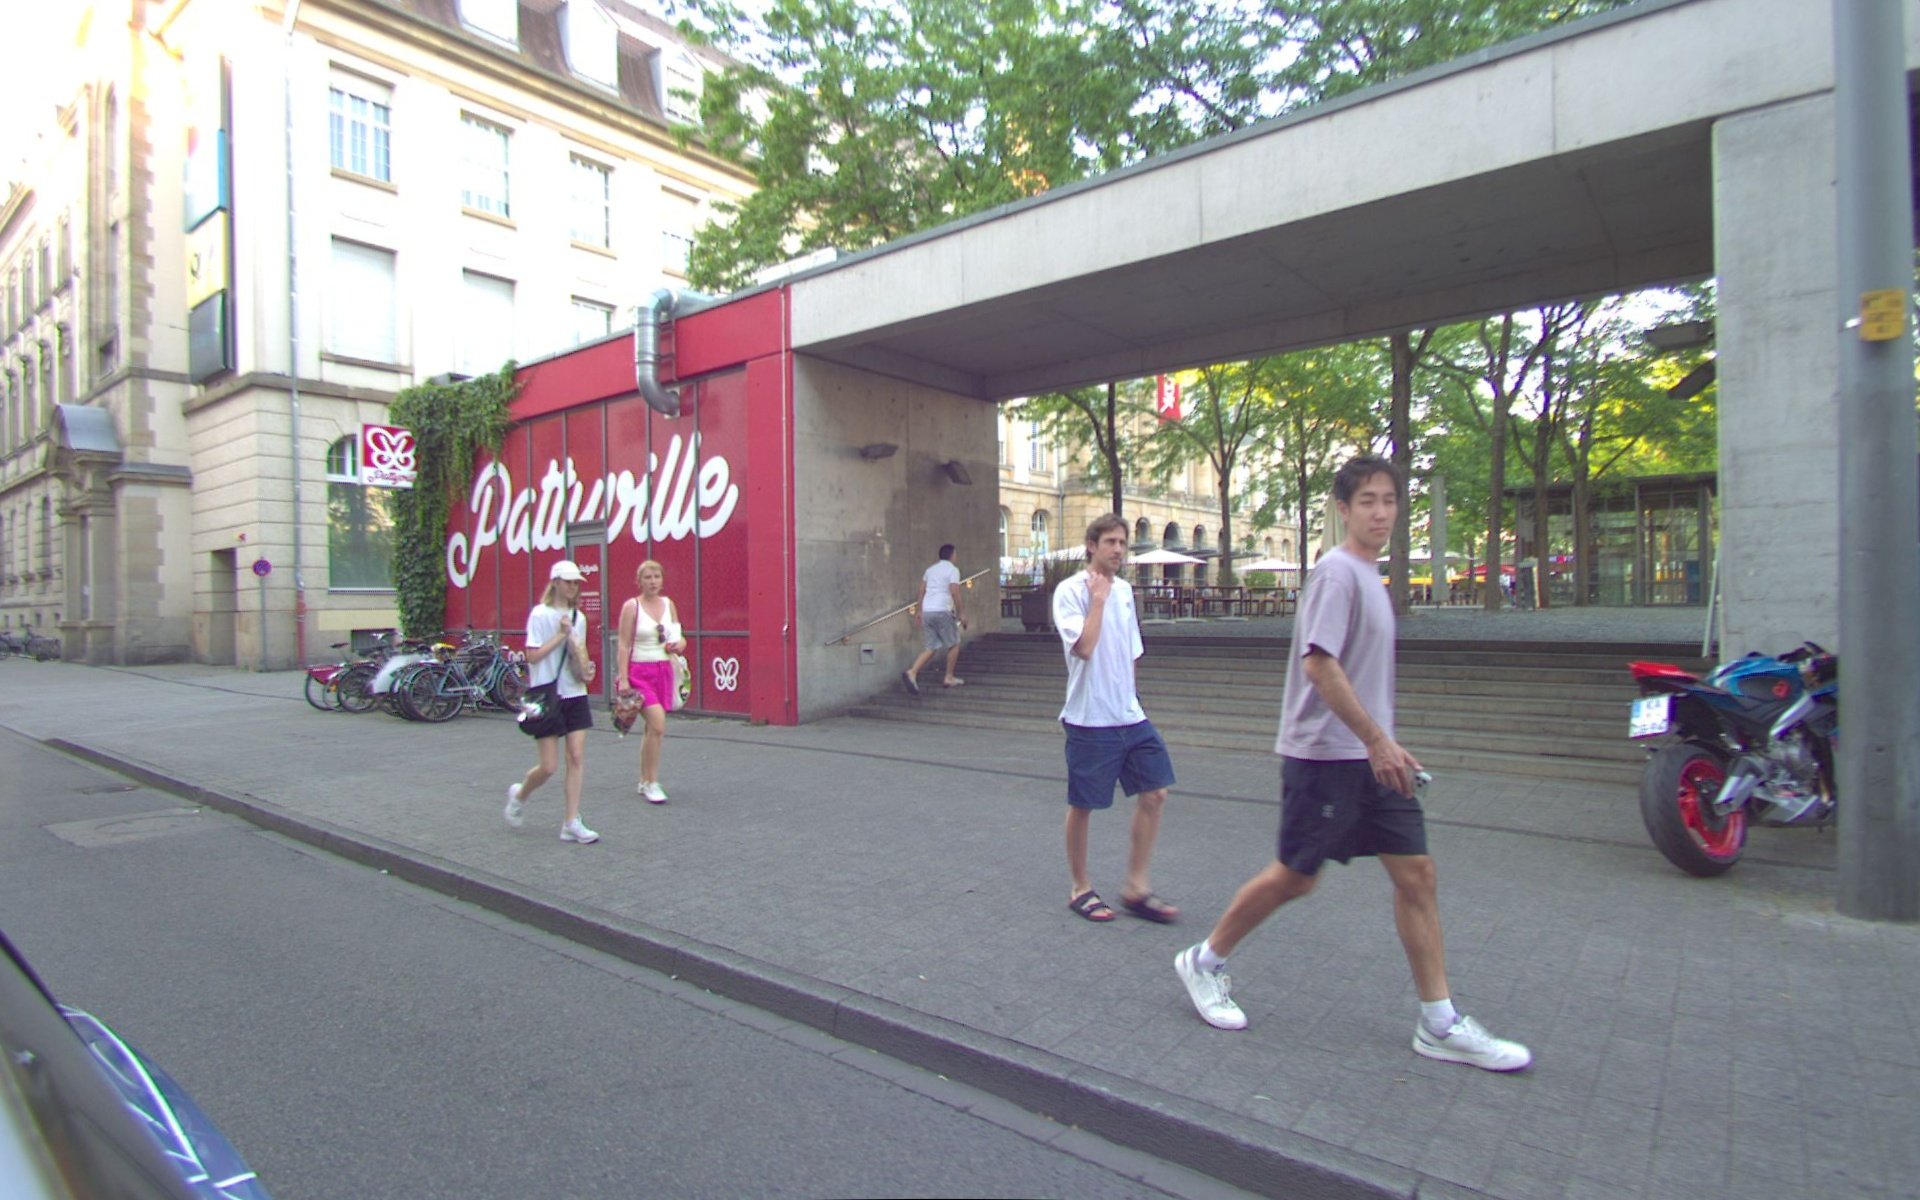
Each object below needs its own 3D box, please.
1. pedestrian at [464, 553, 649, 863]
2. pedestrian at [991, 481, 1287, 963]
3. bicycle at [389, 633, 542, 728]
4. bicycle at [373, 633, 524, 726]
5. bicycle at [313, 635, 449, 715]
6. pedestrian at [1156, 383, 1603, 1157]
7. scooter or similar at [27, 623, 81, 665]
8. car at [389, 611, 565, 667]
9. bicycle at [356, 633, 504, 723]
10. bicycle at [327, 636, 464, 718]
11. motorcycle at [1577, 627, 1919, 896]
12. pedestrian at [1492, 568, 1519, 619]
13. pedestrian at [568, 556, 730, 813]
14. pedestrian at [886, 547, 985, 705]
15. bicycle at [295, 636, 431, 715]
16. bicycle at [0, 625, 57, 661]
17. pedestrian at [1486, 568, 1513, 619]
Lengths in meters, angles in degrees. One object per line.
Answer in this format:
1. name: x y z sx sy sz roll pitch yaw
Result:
1. pedestrian: -2.530 0.623 6.326 0.984 1.763 0.642 -2 -1 39
2. pedestrian: 0.780 0.464 4.434 1.007 1.826 0.734 -2 0 39
3. bicycle: -6.619 1.043 13.612 0.500 1.116 1.775 -2 0 42
4. bicycle: -6.986 1.052 13.905 0.500 1.116 1.775 -2 0 42
5. bicycle: -9.027 1.147 15.841 0.499 1.116 1.777 -2 0 38
6. pedestrian: 1.280 0.422 3.117 1.049 1.908 0.736 -2 0 40
7. scooter or similar: -28.334 1.378 31.651 0.494 1.242 1.126 -2 0 27
8. car: -13.049 1.024 27.519 1.748 1.381 3.966 -2 -1 38
9. bicycle: -7.463 1.063 14.320 0.500 1.116 1.775 -2 0 42
10. bicycle: -8.612 1.139 15.503 0.499 1.116 1.777 -2 0 38
11. motorcycle: 4.076 0.719 5.111 1.775 1.072 0.767 -2 0 -25
12. pedestrian: 25.597 -0.308 47.515 0.802 2.348 0.741 0 -1 -29
13. pedestrian: -2.295 0.578 7.478 0.845 1.763 0.745 -2 0 39
14. pedestrian: -0.284 0.291 11.829 0.719 1.767 0.836 -2 -1 43
15. bicycle: -9.373 1.157 15.962 0.499 1.116 1.777 -2 0 39
16. bicycle: -31.502 1.449 33.750 0.616 1.069 1.928 -1 3 24
17. pedestrian: 24.987 -0.309 46.888 0.802 2.348 0.741 0 -1 -28
